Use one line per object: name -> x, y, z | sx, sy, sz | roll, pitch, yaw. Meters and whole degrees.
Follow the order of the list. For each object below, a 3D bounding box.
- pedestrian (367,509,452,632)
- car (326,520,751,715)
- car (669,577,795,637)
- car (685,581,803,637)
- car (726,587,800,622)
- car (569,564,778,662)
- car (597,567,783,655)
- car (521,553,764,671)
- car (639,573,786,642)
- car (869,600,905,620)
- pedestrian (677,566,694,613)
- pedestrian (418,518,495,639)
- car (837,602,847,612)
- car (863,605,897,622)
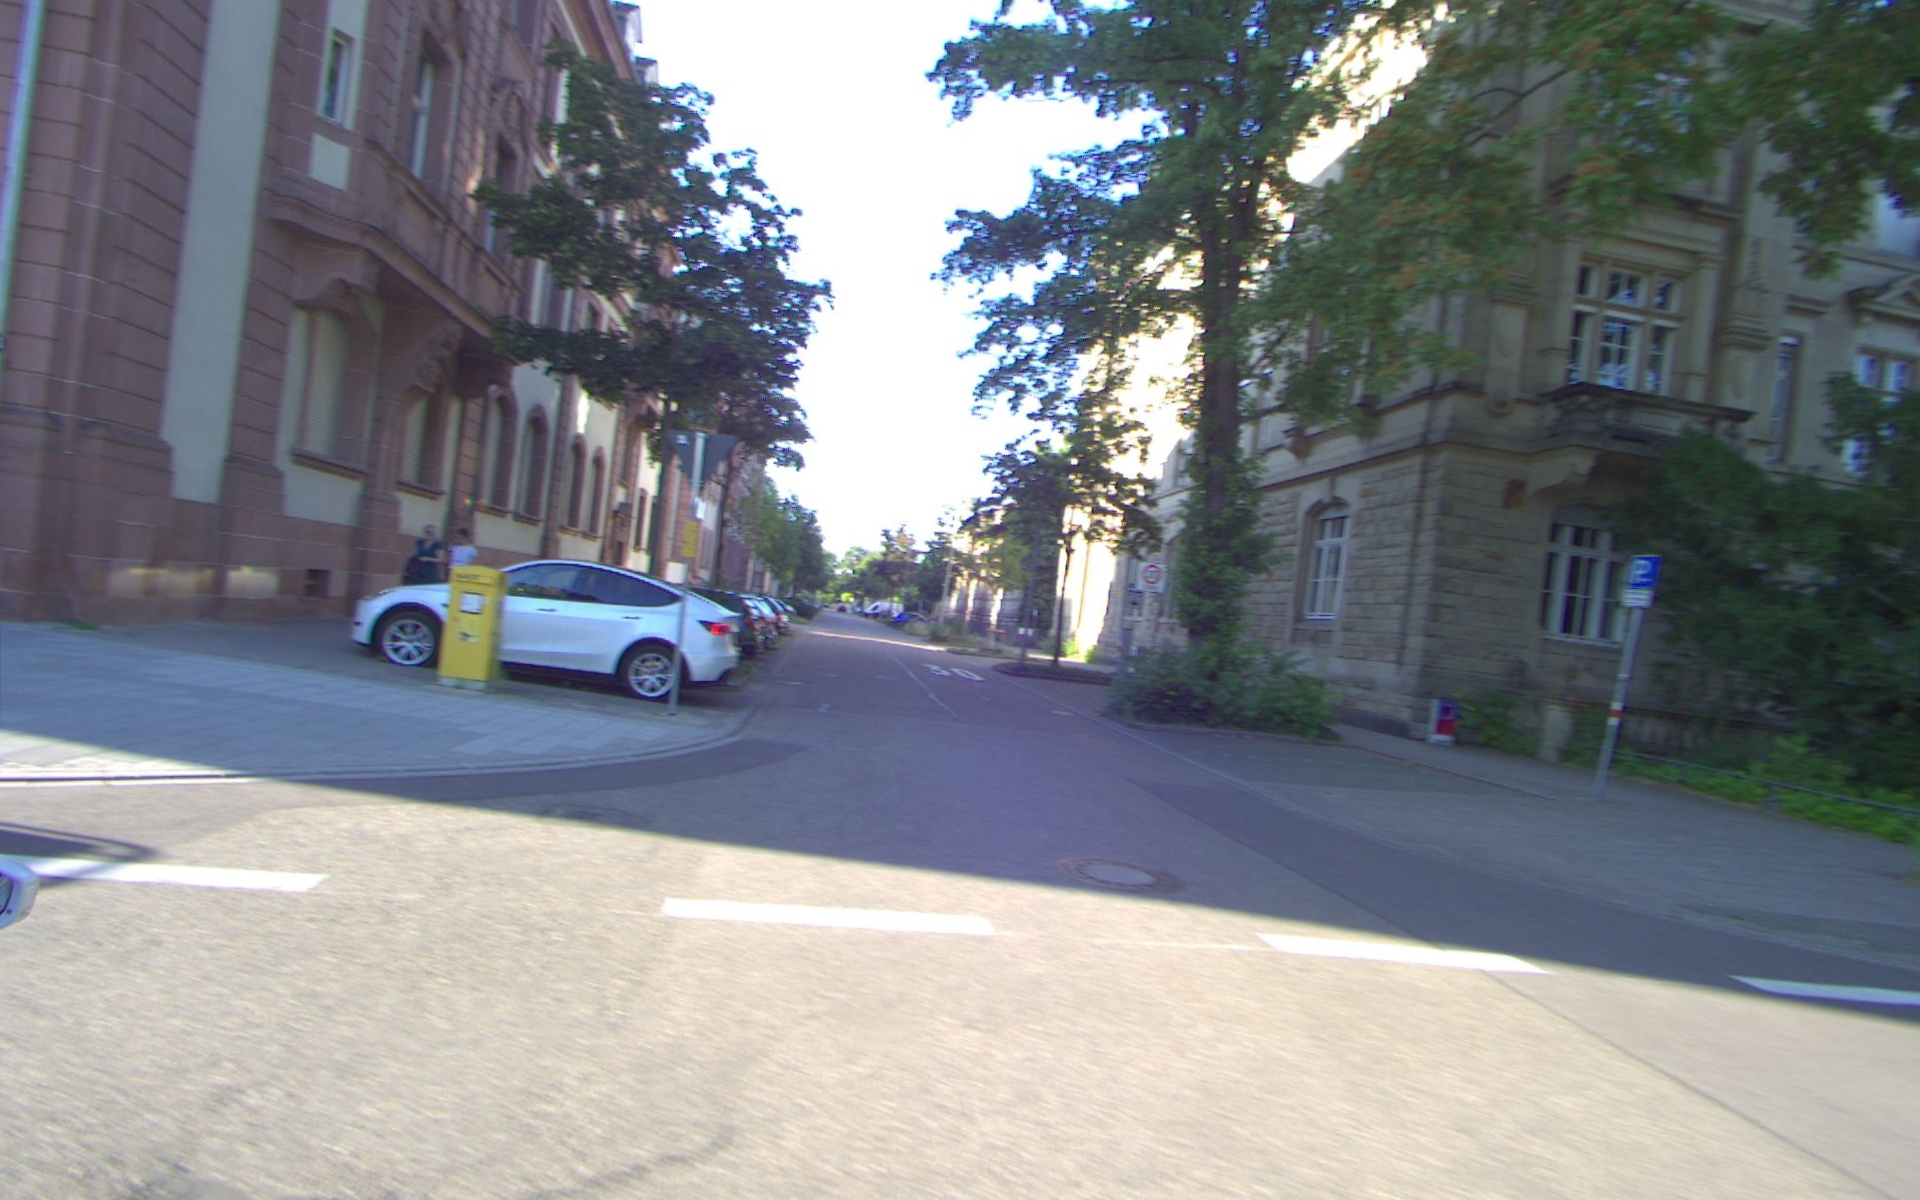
pedestrian -> -9.034, -0.469, 16.532 | 0.776, 1.862, 0.716 | 8, 0, -5
car -> -5.244, 0.250, 13.224 | 4.647, 1.607, 1.963 | 10, -1, -11
car -> -8.468, 0.264, 37.628 | 4.322, 1.514, 1.963 | 9, -1, -11
car -> -8.492, 0.356, 39.834 | 4.322, 1.514, 1.963 | 9, -1, -11
car -> -12.419, 0.268, 63.770 | 4.319, 1.514, 1.964 | 9, -1, -8
car -> -6.478, 0.308, 23.253 | 4.322, 1.514, 1.963 | 9, -1, -11
car -> -6.838, 0.276, 25.957 | 4.322, 1.514, 1.963 | 9, -1, -11
car -> -6.286, 0.250, 20.462 | 4.322, 1.603, 1.963 | 9, -1, -11
car -> -7.912, 0.251, 32.560 | 4.322, 1.514, 1.963 | 9, -1, -11
car -> -10.163, 1.395, 139.254 | 4.639, 2.128, 1.998 | 7, 0, -7
pedestrian -> -12.358, -0.476, 45.325 | 0.428, 2.038, 0.463 | 7, 0, -7
pedestrian -> -8.281, -0.350, 16.585 | 0.714, 1.862, 0.612 | 9, 0, -5
car -> -24.209, 1.400, 206.475 | 1.720, 1.726, 3.666 | 7, -1, -11
car -> -9.887, 1.654, 123.754 | 3.931, 1.637, 1.786 | 7, 0, -8
